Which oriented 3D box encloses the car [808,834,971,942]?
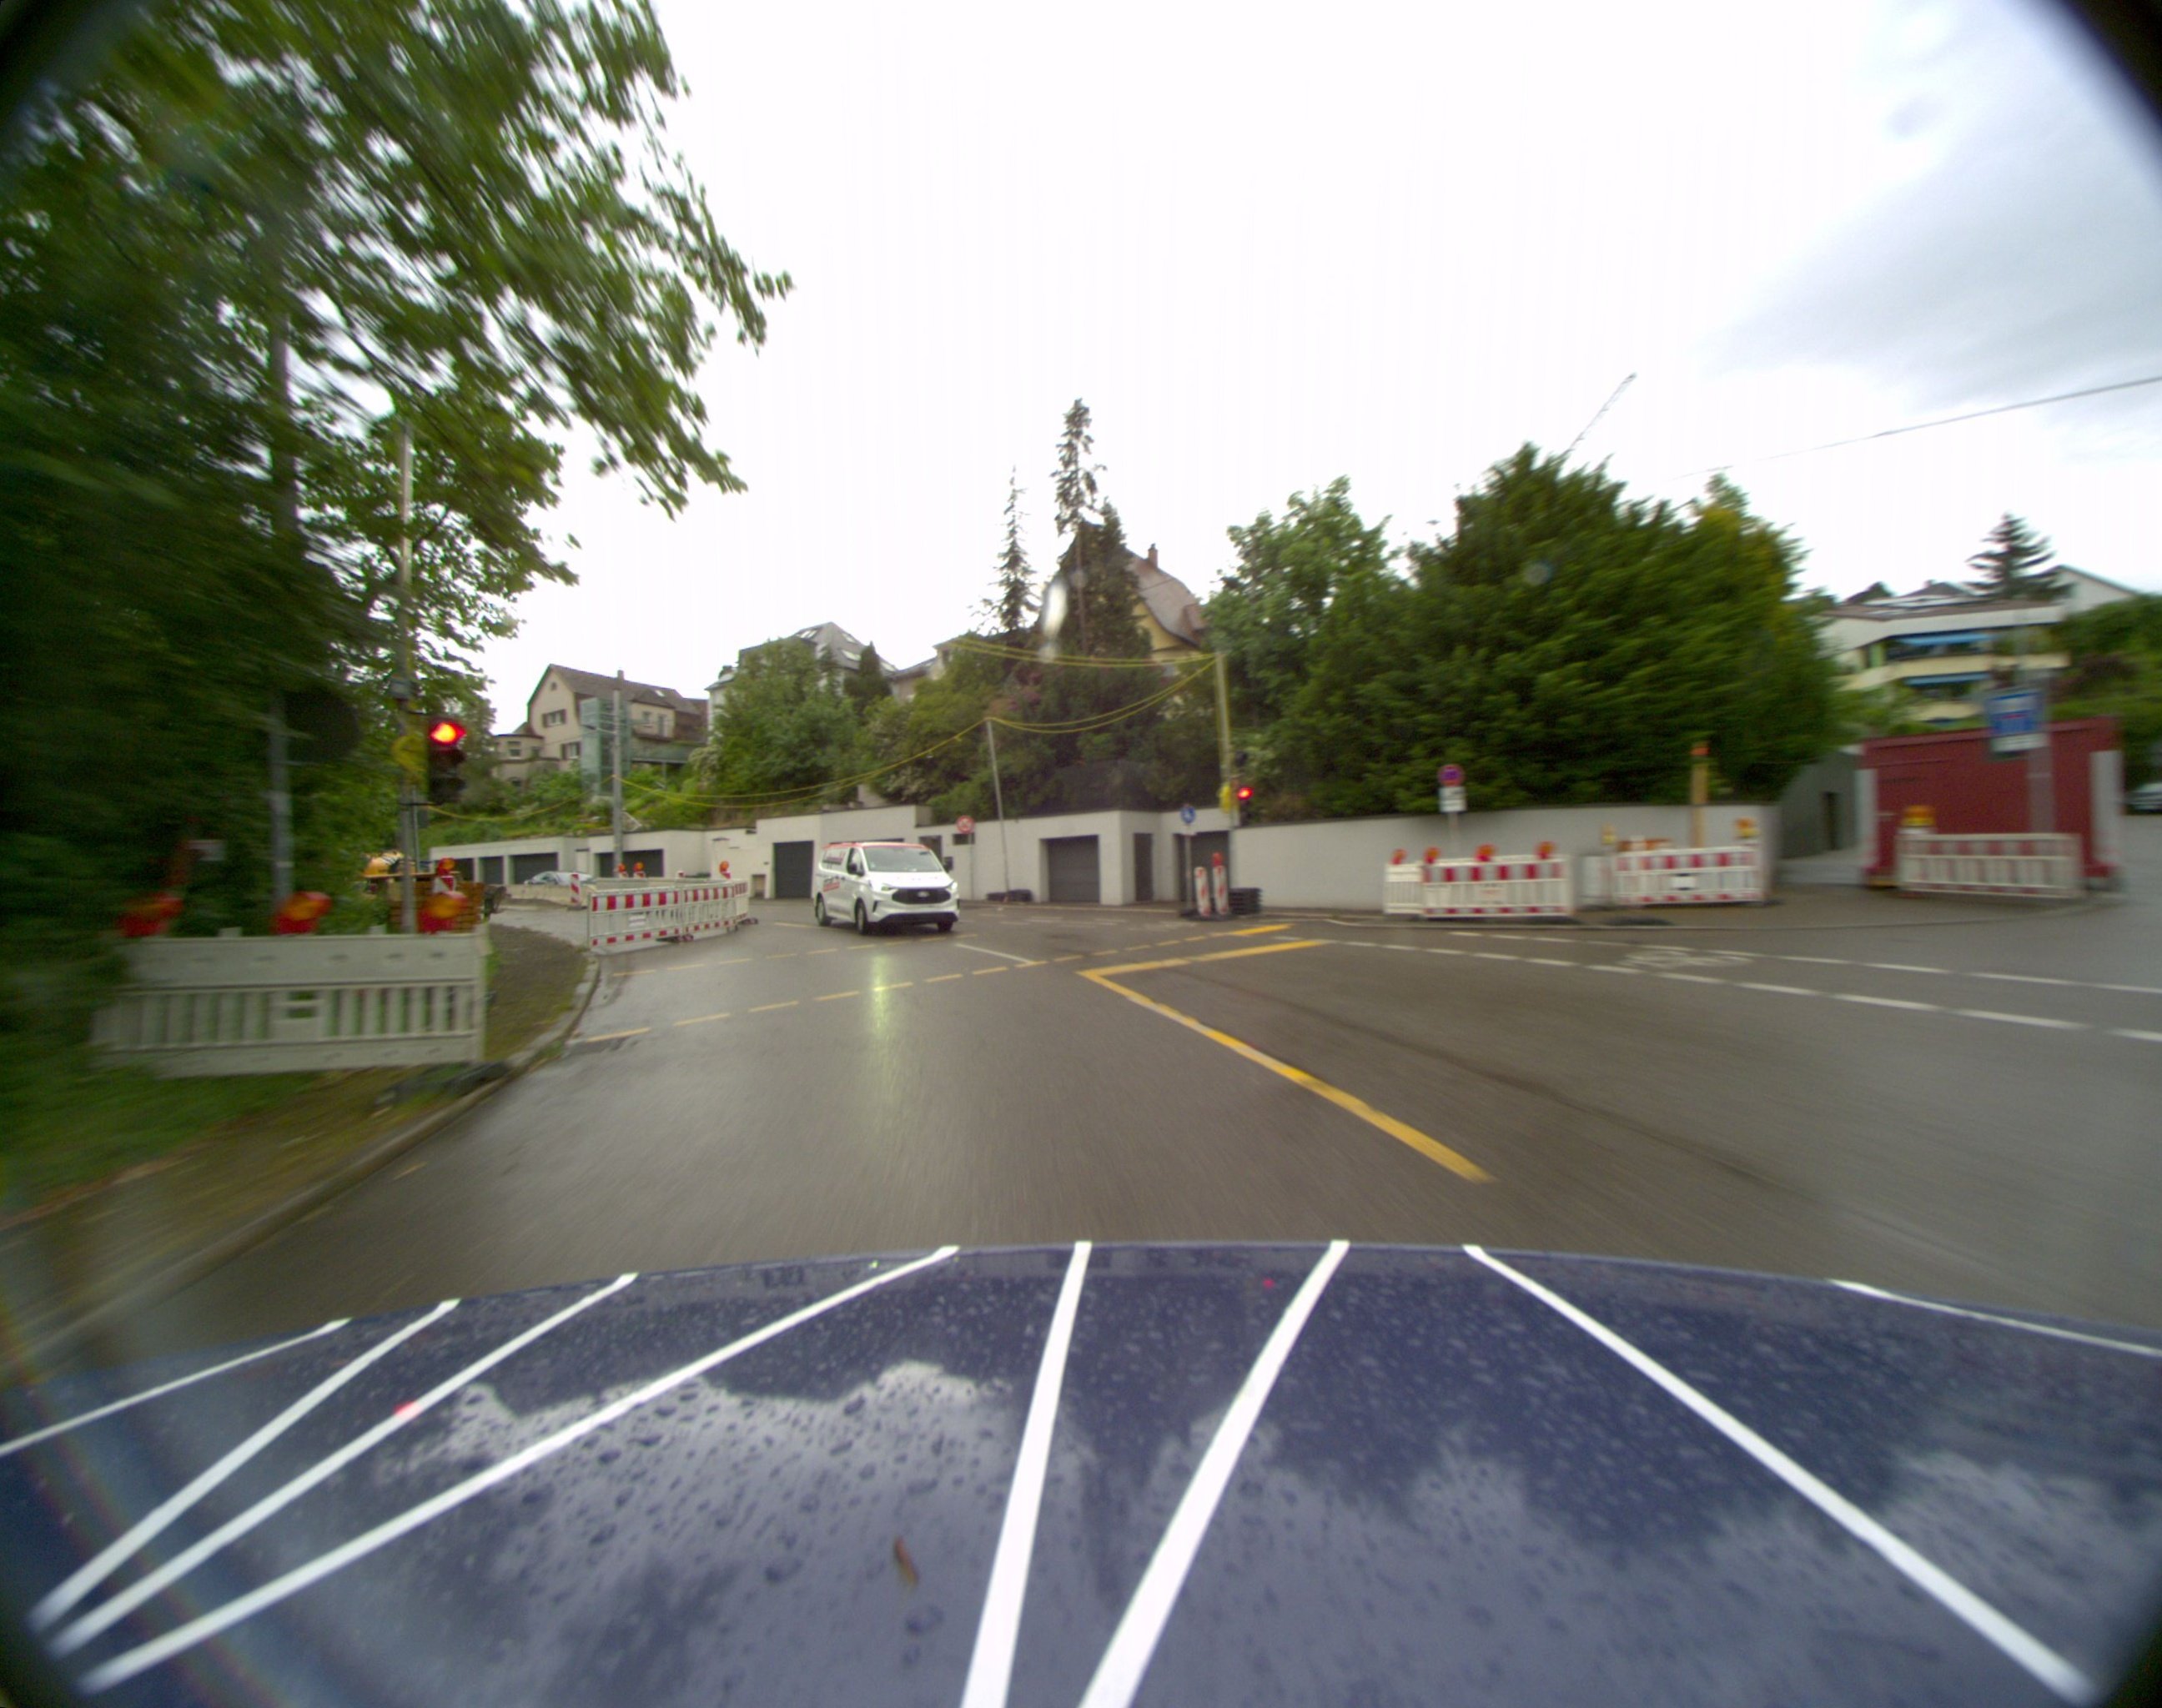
[{"bbox_3d":[-4.499,0.624,17.204,2.003,2.003,4.936,-4,3,-32],"label":"car"}]

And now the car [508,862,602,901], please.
[{"bbox_3d":[-23.435,1.203,33.837,3.989,1.576,2.004,-2,1,33],"label":"car"}]

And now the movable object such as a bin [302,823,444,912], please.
[{"bbox_3d":[-26.300,0.465,28.201,4.844,3.049,2.540,0,1,30],"label":"movable object such as a bin"}]

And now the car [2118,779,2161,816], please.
[{"bbox_3d":[48.338,-2.642,33.563,4.003,1.484,1.880,-5,-2,-21],"label":"car"}]

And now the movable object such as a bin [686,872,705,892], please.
[{"bbox_3d":[-18.615,1.332,36.694,0.767,0.925,0.510,0,1,32],"label":"movable object such as a bin"}]
